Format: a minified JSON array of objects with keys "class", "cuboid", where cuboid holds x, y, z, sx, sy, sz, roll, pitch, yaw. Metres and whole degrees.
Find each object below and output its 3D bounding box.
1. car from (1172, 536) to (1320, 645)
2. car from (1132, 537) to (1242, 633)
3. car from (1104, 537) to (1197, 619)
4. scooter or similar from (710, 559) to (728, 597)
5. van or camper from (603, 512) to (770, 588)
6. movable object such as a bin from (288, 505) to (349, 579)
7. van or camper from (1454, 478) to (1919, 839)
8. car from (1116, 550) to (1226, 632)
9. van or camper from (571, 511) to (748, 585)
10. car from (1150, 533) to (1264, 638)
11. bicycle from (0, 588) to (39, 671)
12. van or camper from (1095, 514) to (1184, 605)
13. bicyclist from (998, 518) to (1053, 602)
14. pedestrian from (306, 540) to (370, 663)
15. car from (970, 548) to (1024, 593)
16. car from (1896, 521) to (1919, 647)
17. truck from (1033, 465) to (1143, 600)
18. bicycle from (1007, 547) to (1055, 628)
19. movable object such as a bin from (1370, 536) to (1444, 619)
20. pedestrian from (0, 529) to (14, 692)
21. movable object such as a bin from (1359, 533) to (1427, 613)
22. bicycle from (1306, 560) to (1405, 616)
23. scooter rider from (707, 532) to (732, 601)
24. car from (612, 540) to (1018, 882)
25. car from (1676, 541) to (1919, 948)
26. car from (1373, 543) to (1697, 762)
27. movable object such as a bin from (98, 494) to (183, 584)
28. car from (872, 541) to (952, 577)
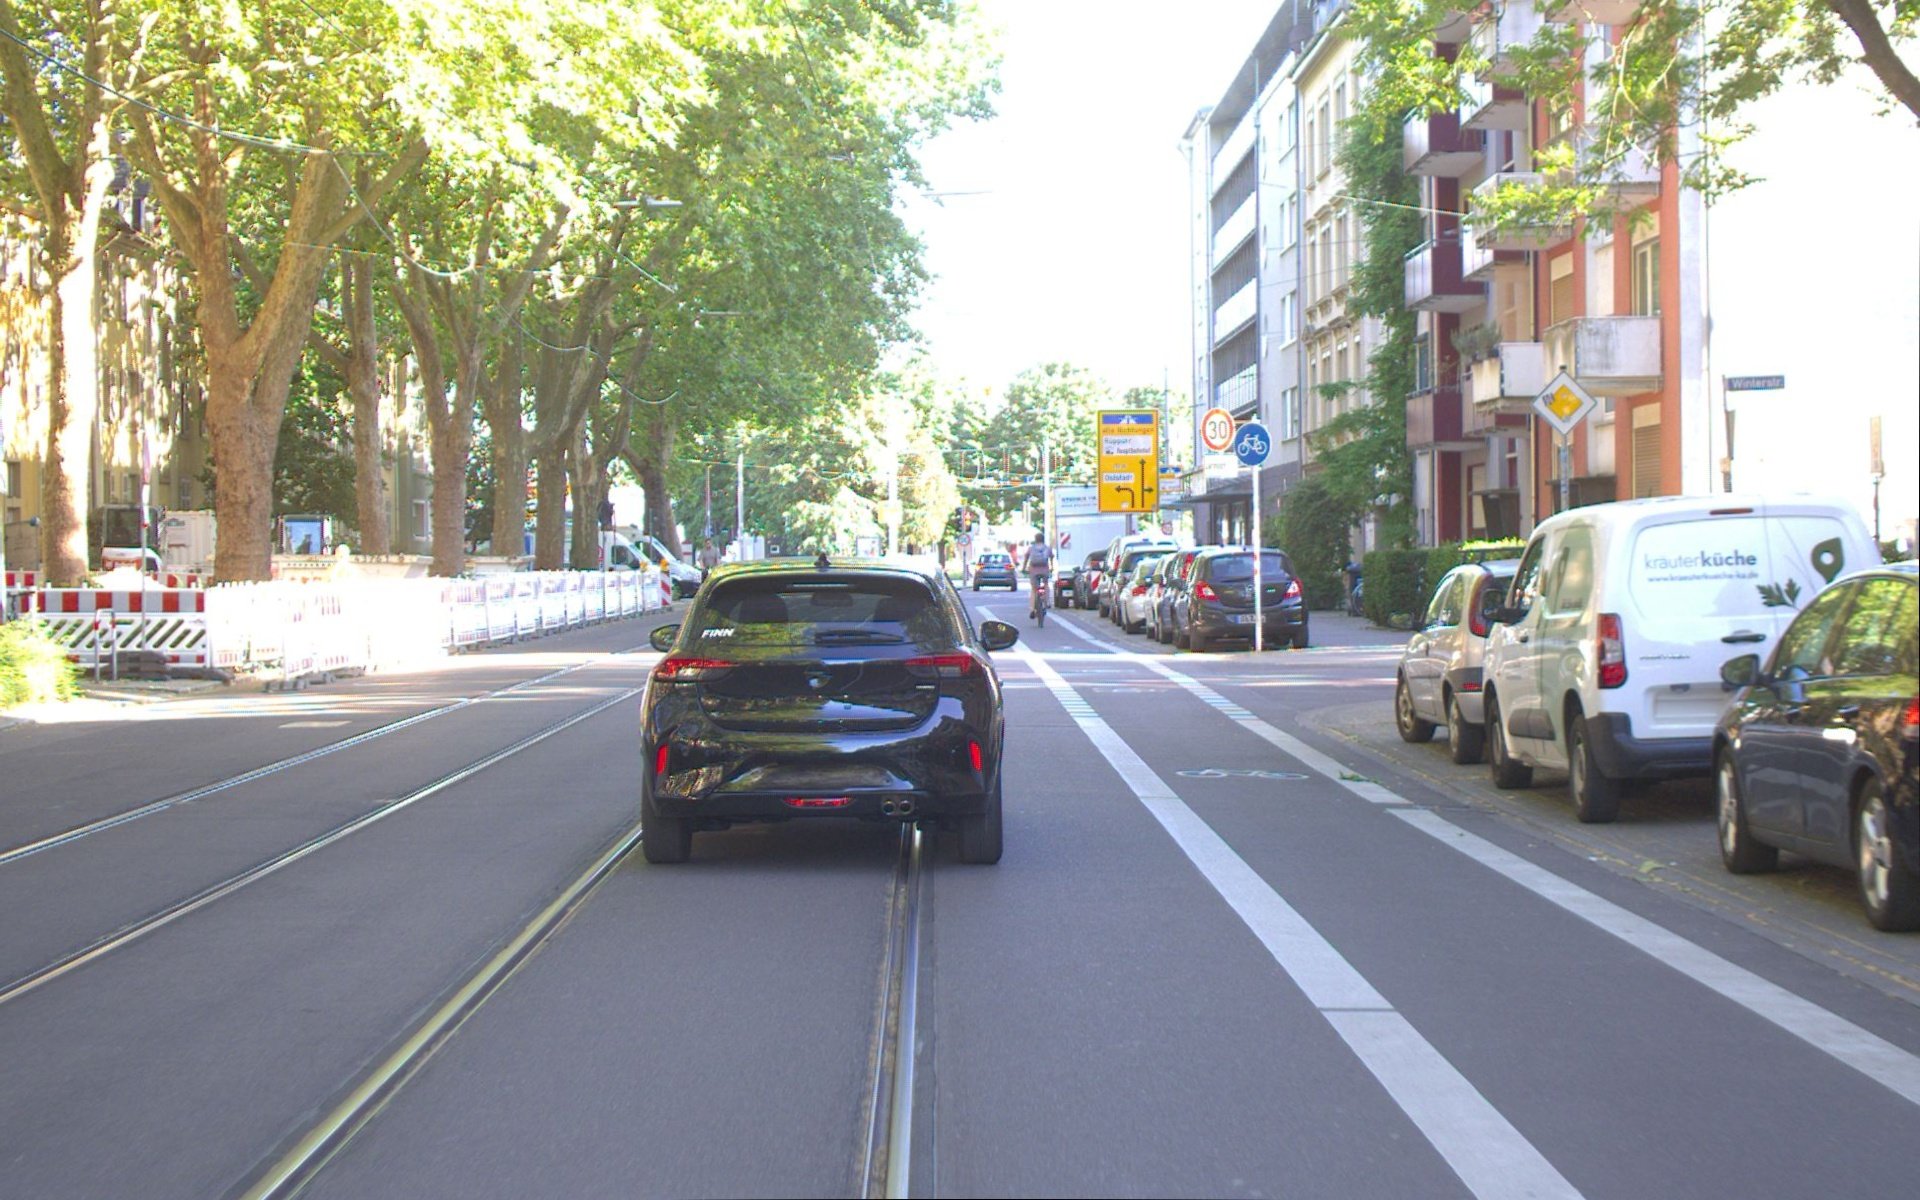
[{"class":"car","cuboid":[4.139,-0.174,50.192,1.733,1.457,3.916,-2,1,-1]},{"class":"car","cuboid":[3.856,-0.272,58.924,1.591,1.521,3.835,-3,1,0]},{"class":"car","cuboid":[3.824,-0.463,69.477,1.660,1.575,3.589,-2,1,0]},{"class":"scooter or similar","cuboid":[-6.854,-0.619,97.857,0.407,1.079,1.338,0,0,0]},{"class":"van or camper","cuboid":[-9.710,-1.786,122.187,5.724,2.635,2.269,0,0,0]},{"class":"movable object such as a bin","cuboid":[-14.527,-1.309,77.867,1.097,1.640,1.560,0,0,0]},{"class":"van or camper","cuboid":[4.184,0.256,20.379,1.755,1.858,4.831,-1,1,0]},{"class":"car","cuboid":[3.916,-0.193,64.499,1.659,1.394,4.740,-2,1,-1]},{"class":"van or camper","cuboid":[-9.852,-1.692,112.840,5.502,2.371,2.269,1,0,4]},{"class":"car","cuboid":[3.876,-0.240,54.407,1.526,1.584,3.752,0,1,0]},{"class":"bicycle","cuboid":[-11.967,0.353,40.602,1.972,0.959,0.726,-1,1,1]},{"class":"van or camper","cuboid":[3.860,-0.889,74.522,1.669,1.876,4.211,-2,1,0]},{"class":"bicyclist","cuboid":[1.300,-0.805,68.329,1.089,1.641,1.400,0,1,1]},{"class":"pedestrian","cuboid":[-8.507,0.015,47.041,0.716,1.663,0.778,0,0,0]},{"class":"car","cuboid":[1.469,-1.201,138.116,1.993,1.690,4.740,-2,1,-1]},{"class":"car","cuboid":[13.595,-0.198,41.899,3.913,1.477,1.562,0,4,-1]},{"class":"truck","cuboid":[3.365,-1.789,91.788,2.538,3.326,7.195,-3,1,0]},{"class":"bicycle","cuboid":[1.402,-0.273,68.423,0.916,1.555,3.405,0,1,1]},{"class":"movable object such as a bin","cuboid":[7.275,-0.368,56.011,0.967,1.322,1.721,0,0,0]},{"class":"pedestrian","cuboid":[-10.702,0.108,36.964,0.822,1.739,0.796,0,0,0]},{"class":"movable object such as a bin","cuboid":[7.268,-0.454,57.816,0.923,1.322,1.682,0,0,0]},{"class":"bicycle","cuboid":[7.854,-0.239,68.335,1.894,1.026,0.476,-2,1,5]},{"class":"scooter rider","cuboid":[-6.854,-0.940,97.822,0.649,1.950,0.624,0,0,0]},{"class":"car","cuboid":[-0.659,0.455,17.080,1.781,1.491,4.000,0,1,-1]},{"class":"car","cuboid":[4.367,0.494,14.661,1.705,1.468,4.168,-1,1,0]},{"class":"car","cuboid":[4.210,0.326,25.737,1.705,1.468,4.000,-1,1,0]},{"class":"movable object such as a bin","cuboid":[-17.348,-1.282,72.826,1.333,1.862,2.008,0,0,0]},{"class":"car","cuboid":[-2.473,-2.081,176.860,1.917,1.690,4.321,-3,1,-36]}]
